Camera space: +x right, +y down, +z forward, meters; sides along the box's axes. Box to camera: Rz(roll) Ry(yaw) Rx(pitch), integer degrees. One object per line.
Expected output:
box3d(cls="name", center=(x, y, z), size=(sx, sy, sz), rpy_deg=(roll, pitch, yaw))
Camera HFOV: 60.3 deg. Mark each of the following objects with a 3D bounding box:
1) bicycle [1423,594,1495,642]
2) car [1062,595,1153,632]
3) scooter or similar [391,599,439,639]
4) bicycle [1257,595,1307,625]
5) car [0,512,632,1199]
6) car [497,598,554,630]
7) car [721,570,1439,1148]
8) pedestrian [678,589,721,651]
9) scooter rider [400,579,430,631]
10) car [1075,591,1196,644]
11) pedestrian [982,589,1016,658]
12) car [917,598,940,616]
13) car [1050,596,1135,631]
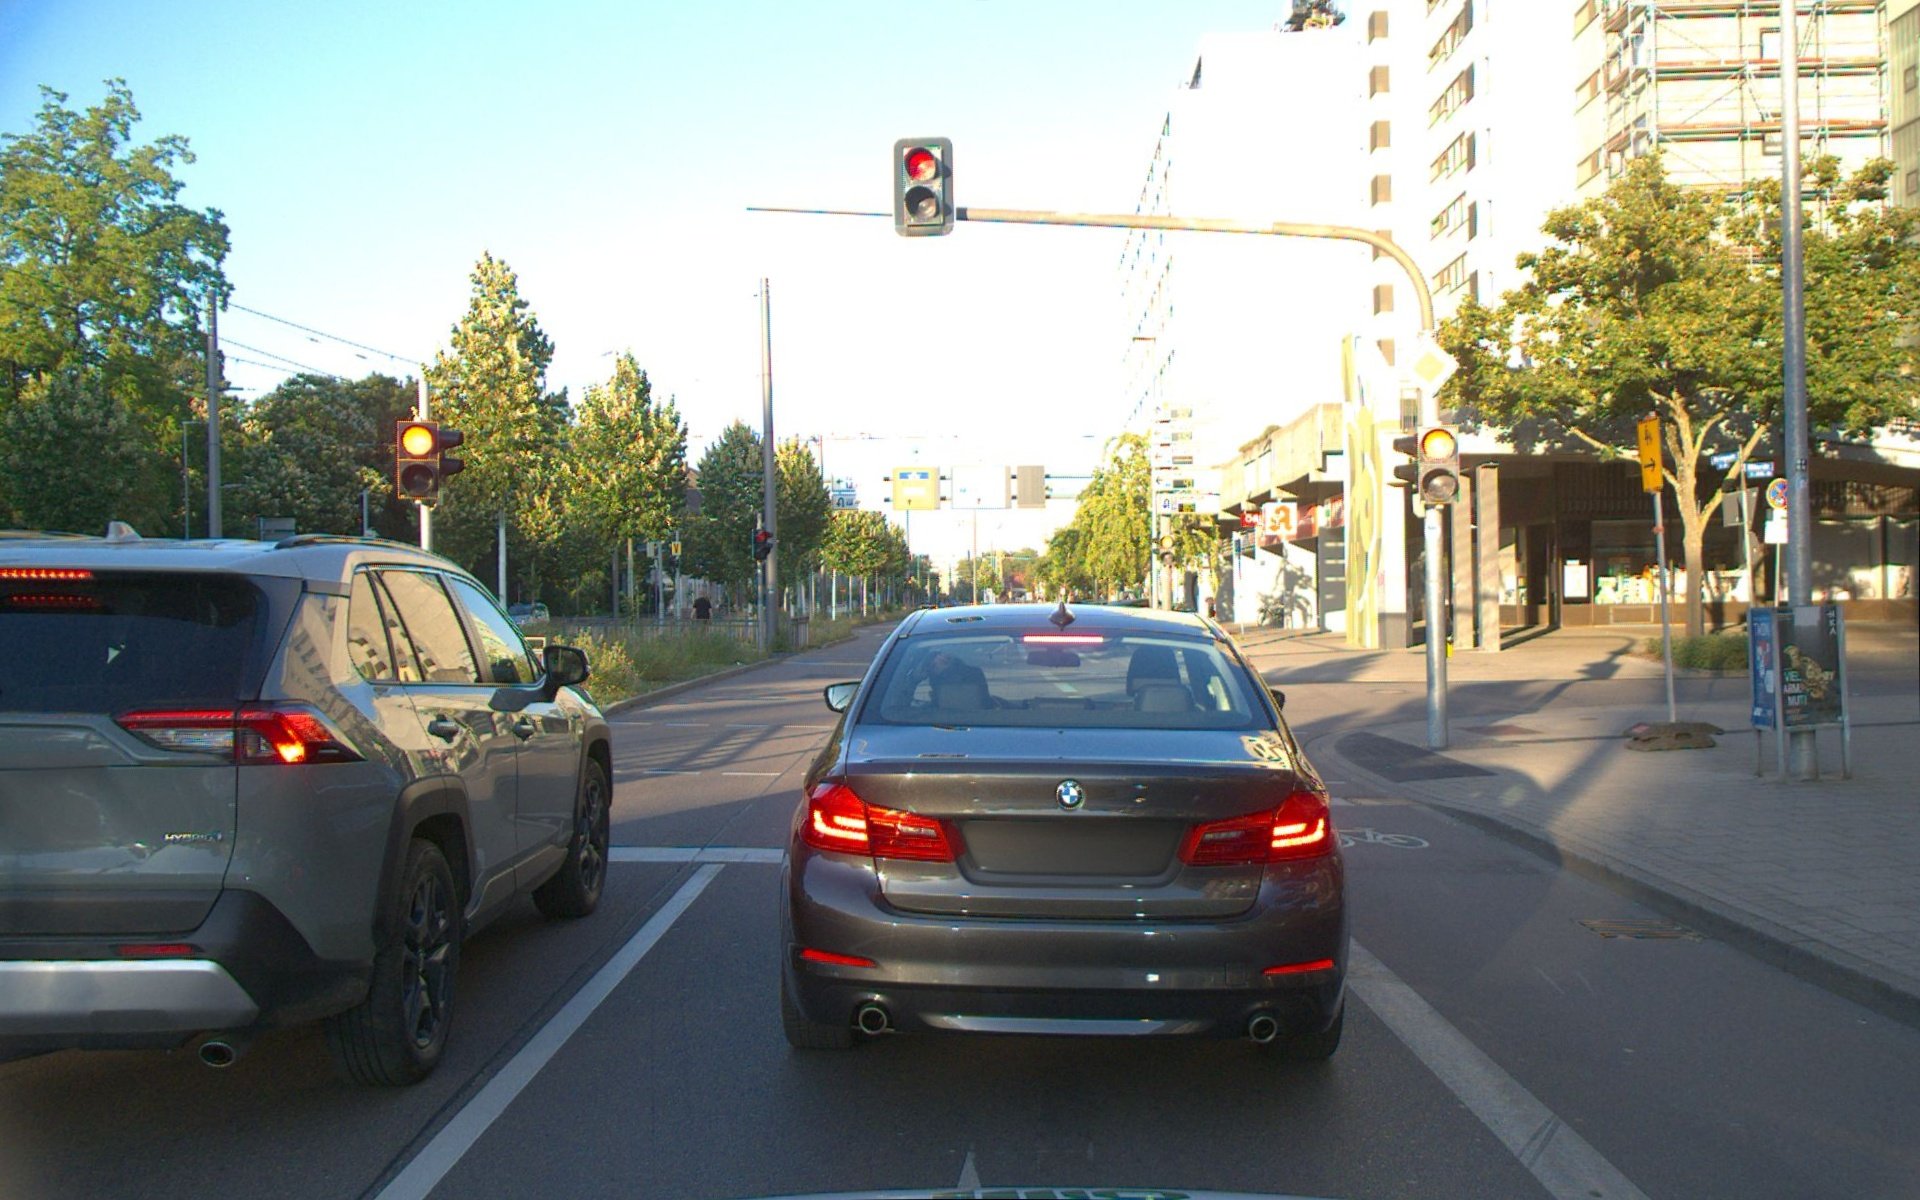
box3d(cls="bicycle", center=(12.499, 0.445, 41.524), size=(0.678, 1.169, 2.012), rpy_deg=(2, -1, -18))
box3d(cls="car", center=(7.069, 0.631, 79.104), size=(4.221, 1.687, 1.837), rpy_deg=(0, 1, -36))
box3d(cls="scooter or similar", center=(-16.214, 0.563, 49.219), size=(1.311, 1.173, 0.510), rpy_deg=(-1, 0, -23))
box3d(cls="bicycle", center=(13.459, 0.434, 69.165), size=(1.974, 1.169, 0.691), rpy_deg=(2, -1, 6))
box3d(cls="car", center=(-2.505, 0.583, 6.169), size=(1.817, 1.687, 4.267), rpy_deg=(0, 1, -2))
box3d(cls="car", center=(-21.418, 0.675, 81.597), size=(1.763, 1.507, 3.783), rpy_deg=(-1, 0, 0))
box3d(cls="car", center=(0.370, 0.643, 6.641), size=(1.892, 1.507, 4.523), rpy_deg=(0, 1, 1))
box3d(cls="pedestrian", center=(-6.870, 0.518, 43.586), size=(0.804, 1.614, 0.826), rpy_deg=(-1, 0, -40))
box3d(cls="scooter rider", center=(-16.227, 0.148, 49.252), size=(0.809, 1.540, 0.648), rpy_deg=(-1, 0, -22))
box3d(cls="car", center=(6.035, 0.563, 56.622), size=(4.234, 1.687, 1.831), rpy_deg=(-1, 1, -43))
box3d(cls="pedestrian", center=(1.011, 0.608, 42.966), size=(0.818, 1.742, 0.647), rpy_deg=(-1, 0, -2))
box3d(cls="car", center=(-2.757, 0.621, 146.895), size=(1.938, 1.458, 4.843), rpy_deg=(0, 1, 0))
box3d(cls="car", center=(6.843, 0.659, 85.248), size=(4.219, 1.687, 1.838), rpy_deg=(0, 1, -36))
